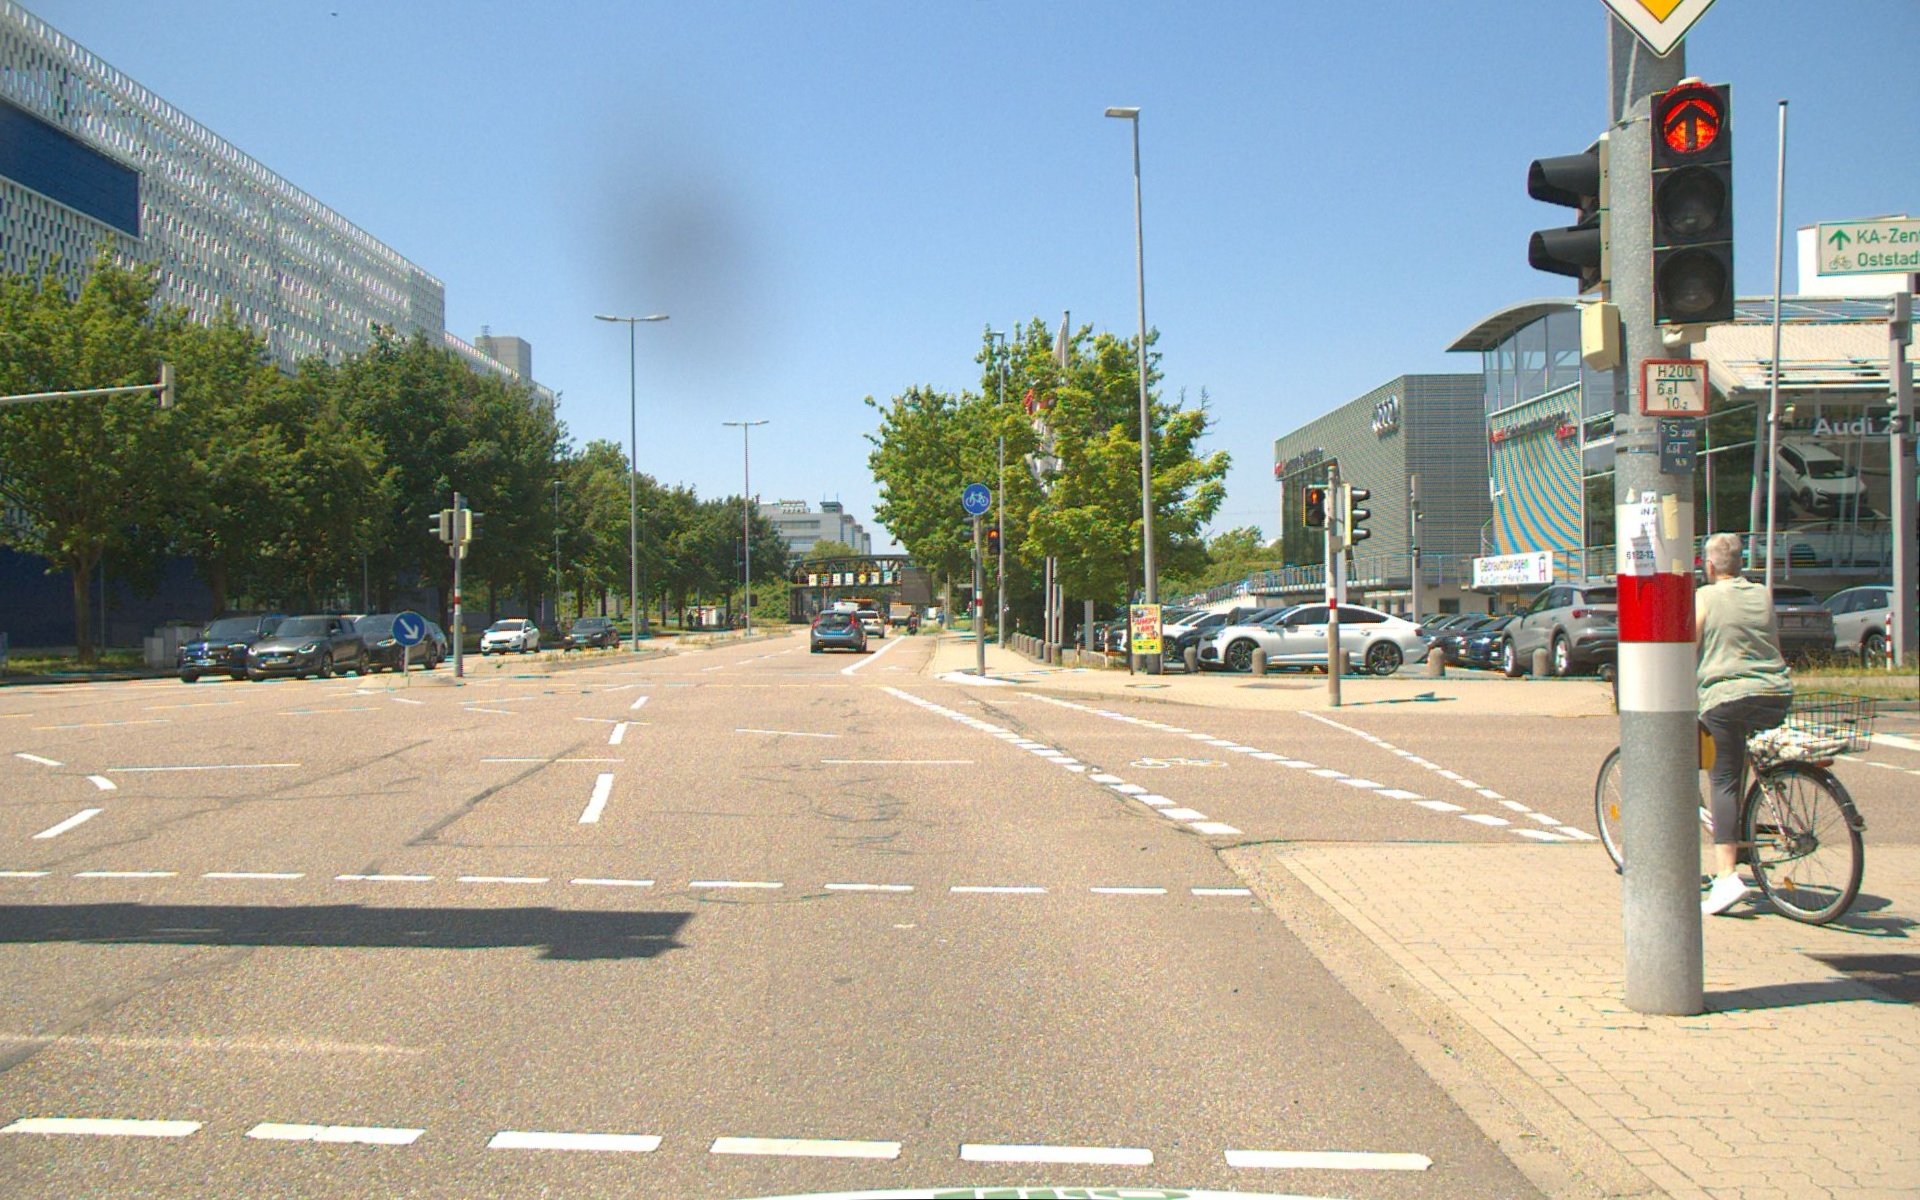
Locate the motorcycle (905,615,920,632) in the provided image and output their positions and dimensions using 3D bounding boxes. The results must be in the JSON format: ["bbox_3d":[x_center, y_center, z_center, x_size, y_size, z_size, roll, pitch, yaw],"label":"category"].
[{"bbox_3d":[-3.038,1.504,105.871,0.703,1.124,1.825,1,-1,-10],"label":"motorcycle"}]

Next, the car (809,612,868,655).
[{"bbox_3d":[-4.217,1.148,57.959,1.862,1.400,4.230,-1,0,-2],"label":"car"}]

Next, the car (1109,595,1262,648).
[{"bbox_3d":[6.313,0.601,46.569,4.016,1.372,1.868,2,-1,-1],"label":"car"}]

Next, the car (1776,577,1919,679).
[{"bbox_3d":[16.472,0.499,29.271,1.808,1.683,3.994,2,-1,-5],"label":"car"}]

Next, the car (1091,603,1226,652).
[{"bbox_3d":[6.261,0.857,52.373,4.017,1.429,1.868,2,-1,-1],"label":"car"}]

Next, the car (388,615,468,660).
[{"bbox_3d":[-18.807,1.327,58.645,1.616,1.512,3.914,-2,-1,-1],"label":"car"}]

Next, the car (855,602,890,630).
[{"bbox_3d":[-4.591,0.829,87.276,1.708,1.420,3.528,-1,0,-1],"label":"car"}]

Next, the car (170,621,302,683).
[{"bbox_3d":[-18.342,1.291,42.101,1.627,1.449,4.037,-2,-1,-1],"label":"car"}]

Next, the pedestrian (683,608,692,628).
[{"bbox_3d":[-25.973,1.718,157.850,0.728,1.917,0.577,-1,-1,0],"label":"pedestrian"}]

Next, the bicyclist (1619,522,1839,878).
[{"bbox_3d":[3.721,0.465,8.057,0.616,1.634,0.824,1,-1,-8],"label":"bicyclist"}]

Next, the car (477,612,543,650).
[{"bbox_3d":[-19.072,1.308,70.244,1.708,1.512,3.999,-2,-1,-1],"label":"car"}]

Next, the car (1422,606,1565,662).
[{"bbox_3d":[16.615,1.046,51.578,3.901,1.601,1.633,2,-1,-1],"label":"car"}]

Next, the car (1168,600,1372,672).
[{"bbox_3d":[6.642,0.767,35.707,4.013,1.415,1.868,2,-1,-1],"label":"car"}]

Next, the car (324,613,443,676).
[{"bbox_3d":[-15.535,1.176,44.797,1.691,1.531,4.243,-3,-1,0],"label":"car"}]

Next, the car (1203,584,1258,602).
[{"bbox_3d":[21.209,-0.564,129.768,3.909,1.335,1.795,1,-1,-5],"label":"car"}]

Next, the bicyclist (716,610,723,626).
[{"bbox_3d":[-23.394,1.760,160.923,0.624,1.610,0.884,-1,-1,-3],"label":"bicyclist"}]

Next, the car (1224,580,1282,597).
[{"bbox_3d":[21.427,-0.822,120.965,3.862,1.232,1.715,0,-1,-5],"label":"car"}]

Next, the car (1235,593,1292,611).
[{"bbox_3d":[21.432,0.135,116.858,3.652,1.150,1.682,1,-1,-5],"label":"car"}]

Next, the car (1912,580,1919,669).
[{"bbox_3d":[18.732,0.479,29.029,1.604,1.644,3.814,0,1,-5],"label":"car"}]

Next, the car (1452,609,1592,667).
[{"bbox_3d":[16.744,1.112,49.371,3.573,1.608,1.642,2,-1,-1],"label":"car"}]

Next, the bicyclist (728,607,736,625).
[{"bbox_3d":[-22.810,1.612,165.403,0.729,1.715,0.952,-1,-1,-1],"label":"bicyclist"}]

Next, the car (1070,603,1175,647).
[{"bbox_3d":[5.905,0.909,60.357,3.607,1.479,1.833,2,-1,-1],"label":"car"}]

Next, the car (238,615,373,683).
[{"bbox_3d":[-15.182,1.119,38.552,1.610,1.413,3.715,-3,-1,0],"label":"car"}]

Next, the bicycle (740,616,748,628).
[{"bbox_3d":[-23.332,2.380,178.713,0.616,1.179,2.116,-3,0,-2],"label":"bicycle"}]

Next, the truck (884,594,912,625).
[{"bbox_3d":[-6.074,0.922,162.841,2.562,2.900,5.613,1,0,-1],"label":"truck"}]

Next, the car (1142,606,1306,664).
[{"bbox_3d":[6.947,0.910,43.759,4.013,1.388,1.874,2,-1,-1],"label":"car"}]

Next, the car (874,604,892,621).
[{"bbox_3d":[-9.770,1.566,211.014,1.952,2.049,4.001,-2,0,2],"label":"car"}]

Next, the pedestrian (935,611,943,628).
[{"bbox_3d":[-1.732,1.574,136.644,0.611,1.399,0.564,-1,-1,-3],"label":"pedestrian"}]

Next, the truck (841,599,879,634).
[{"bbox_3d":[-7.230,1.191,119.919,2.408,2.452,7.132,1,0,-1],"label":"truck"}]

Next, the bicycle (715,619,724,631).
[{"bbox_3d":[-23.398,2.464,161.039,0.624,1.153,1.969,-1,-1,-3],"label":"bicycle"}]

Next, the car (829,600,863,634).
[{"bbox_3d":[-7.128,1.070,103.929,1.953,2.049,3.998,0,-1,-2],"label":"car"}]

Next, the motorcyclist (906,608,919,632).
[{"bbox_3d":[-3.060,1.289,105.976,0.706,1.556,0.868,1,-1,-11],"label":"motorcyclist"}]

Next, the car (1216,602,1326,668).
[{"bbox_3d":[7.410,0.817,39.784,1.824,1.444,4.663,2,-1,1],"label":"car"}]

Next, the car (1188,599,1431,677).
[{"bbox_3d":[6.982,0.749,33.348,4.497,1.415,1.869,2,-1,1],"label":"car"}]

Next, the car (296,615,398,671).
[{"bbox_3d":[-18.601,1.291,50.335,1.691,1.571,3.914,-2,-1,-1],"label":"car"}]

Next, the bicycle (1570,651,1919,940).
[{"bbox_3d":[3.720,0.863,8.030,0.616,1.153,1.892,0,1,-7],"label":"bicycle"}]

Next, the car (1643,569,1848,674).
[{"bbox_3d":[13.672,0.435,29.044,1.806,1.683,3.999,2,-2,2],"label":"car"}]

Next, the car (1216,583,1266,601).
[{"bbox_3d":[21.156,-0.620,124.620,3.455,1.261,1.675,1,-1,-5],"label":"car"}]

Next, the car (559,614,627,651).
[{"bbox_3d":[-15.789,1.399,71.435,1.691,1.471,4.720,-3,-1,2],"label":"car"}]

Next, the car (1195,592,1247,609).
[{"bbox_3d":[21.466,0.025,135.988,3.909,1.335,1.795,-1,-1,-5],"label":"car"}]

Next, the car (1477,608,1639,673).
[{"bbox_3d":[16.690,1.120,46.248,3.904,1.650,1.656,2,-1,-1],"label":"car"}]

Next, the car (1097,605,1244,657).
[{"bbox_3d":[6.261,0.912,49.479,4.140,1.415,1.868,2,-1,-1],"label":"car"}]

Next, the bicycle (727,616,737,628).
[{"bbox_3d":[-22.802,2.190,165.503,0.724,1.145,2.434,-1,0,0],"label":"bicycle"}]

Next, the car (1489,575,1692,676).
[{"bbox_3d":[11.002,0.478,29.228,1.830,1.586,4.503,-2,-2,0],"label":"car"}]
